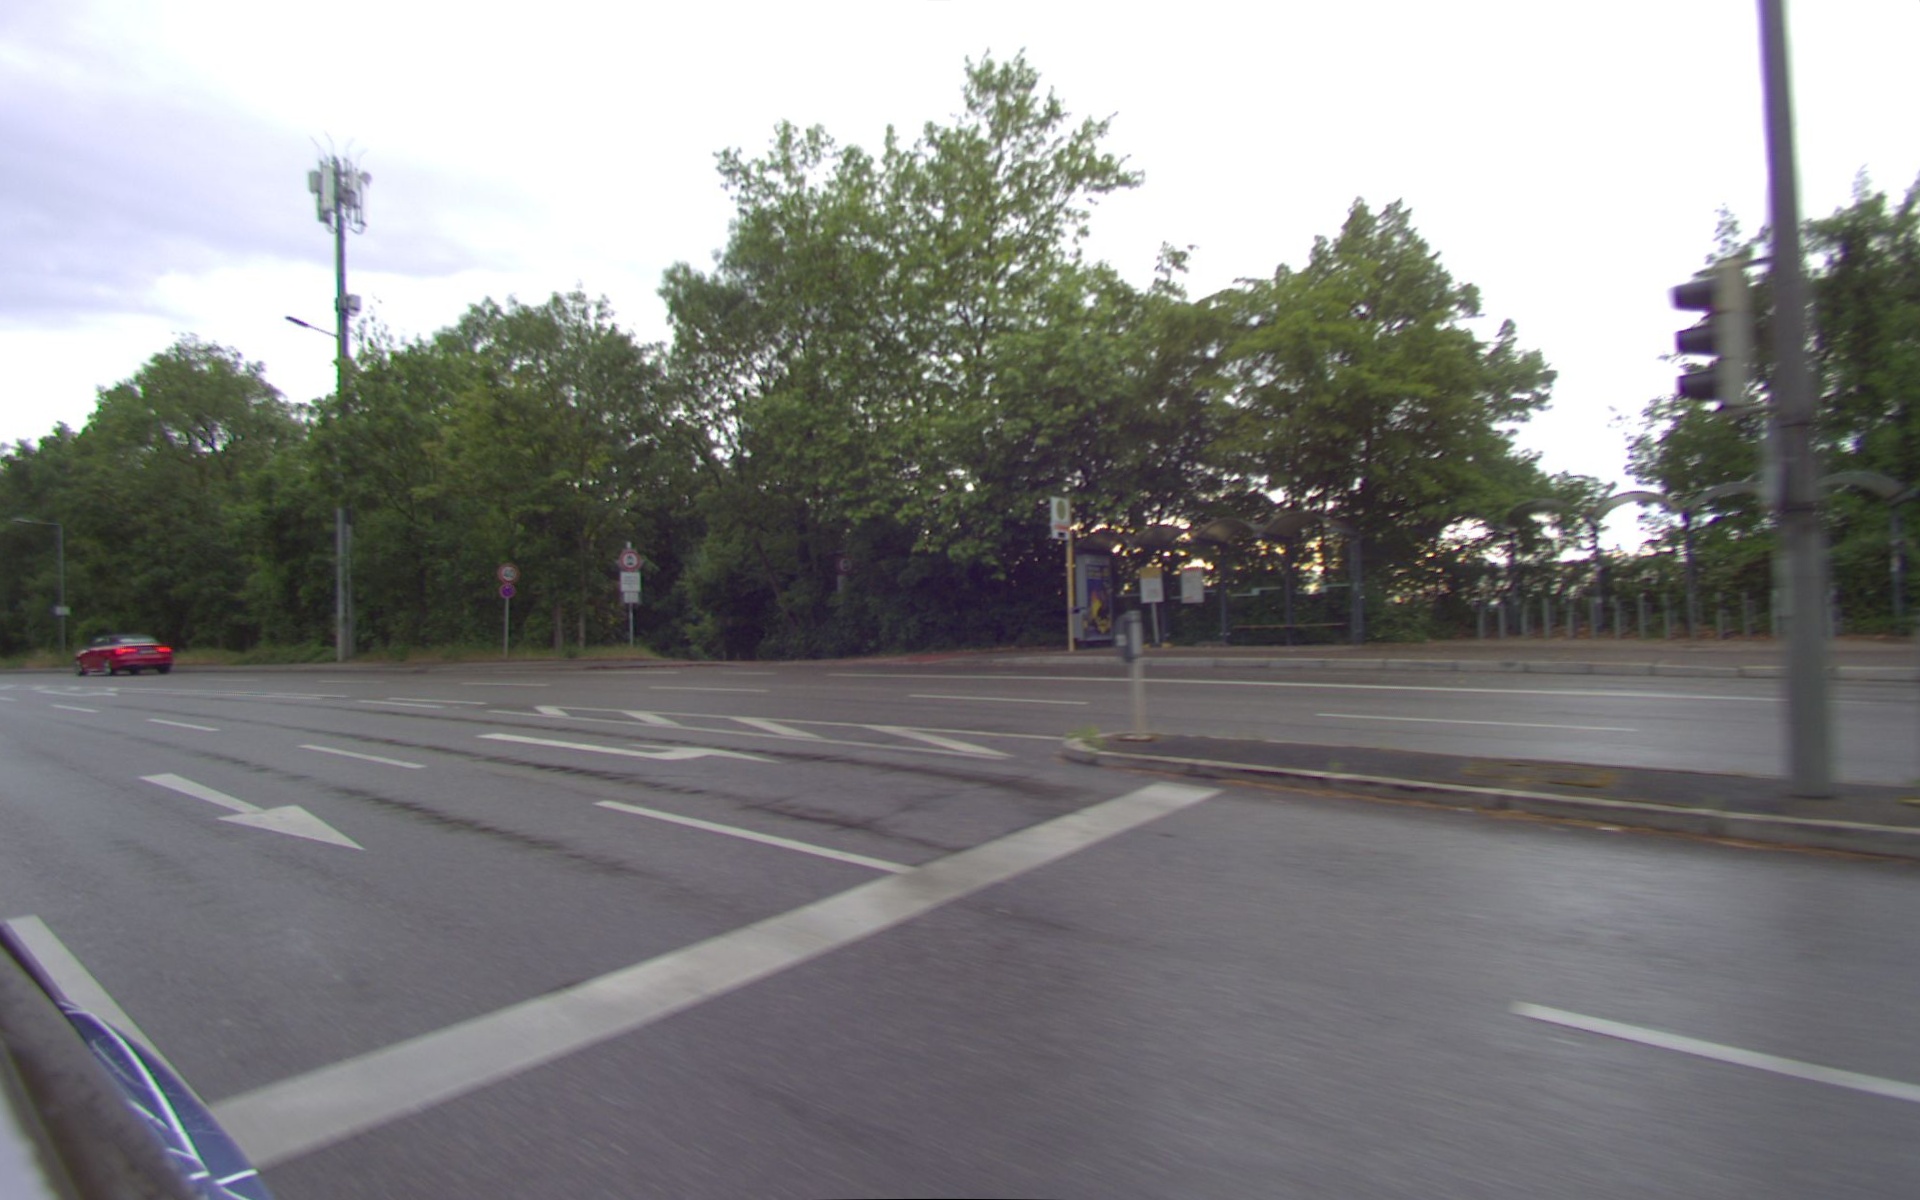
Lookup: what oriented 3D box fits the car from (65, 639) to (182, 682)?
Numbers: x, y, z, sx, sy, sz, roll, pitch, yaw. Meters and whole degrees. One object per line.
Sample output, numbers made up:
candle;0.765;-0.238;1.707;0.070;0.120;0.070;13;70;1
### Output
car;-29.165;2.102;35.269;4.369;1.384;1.861;-3;-2;32
